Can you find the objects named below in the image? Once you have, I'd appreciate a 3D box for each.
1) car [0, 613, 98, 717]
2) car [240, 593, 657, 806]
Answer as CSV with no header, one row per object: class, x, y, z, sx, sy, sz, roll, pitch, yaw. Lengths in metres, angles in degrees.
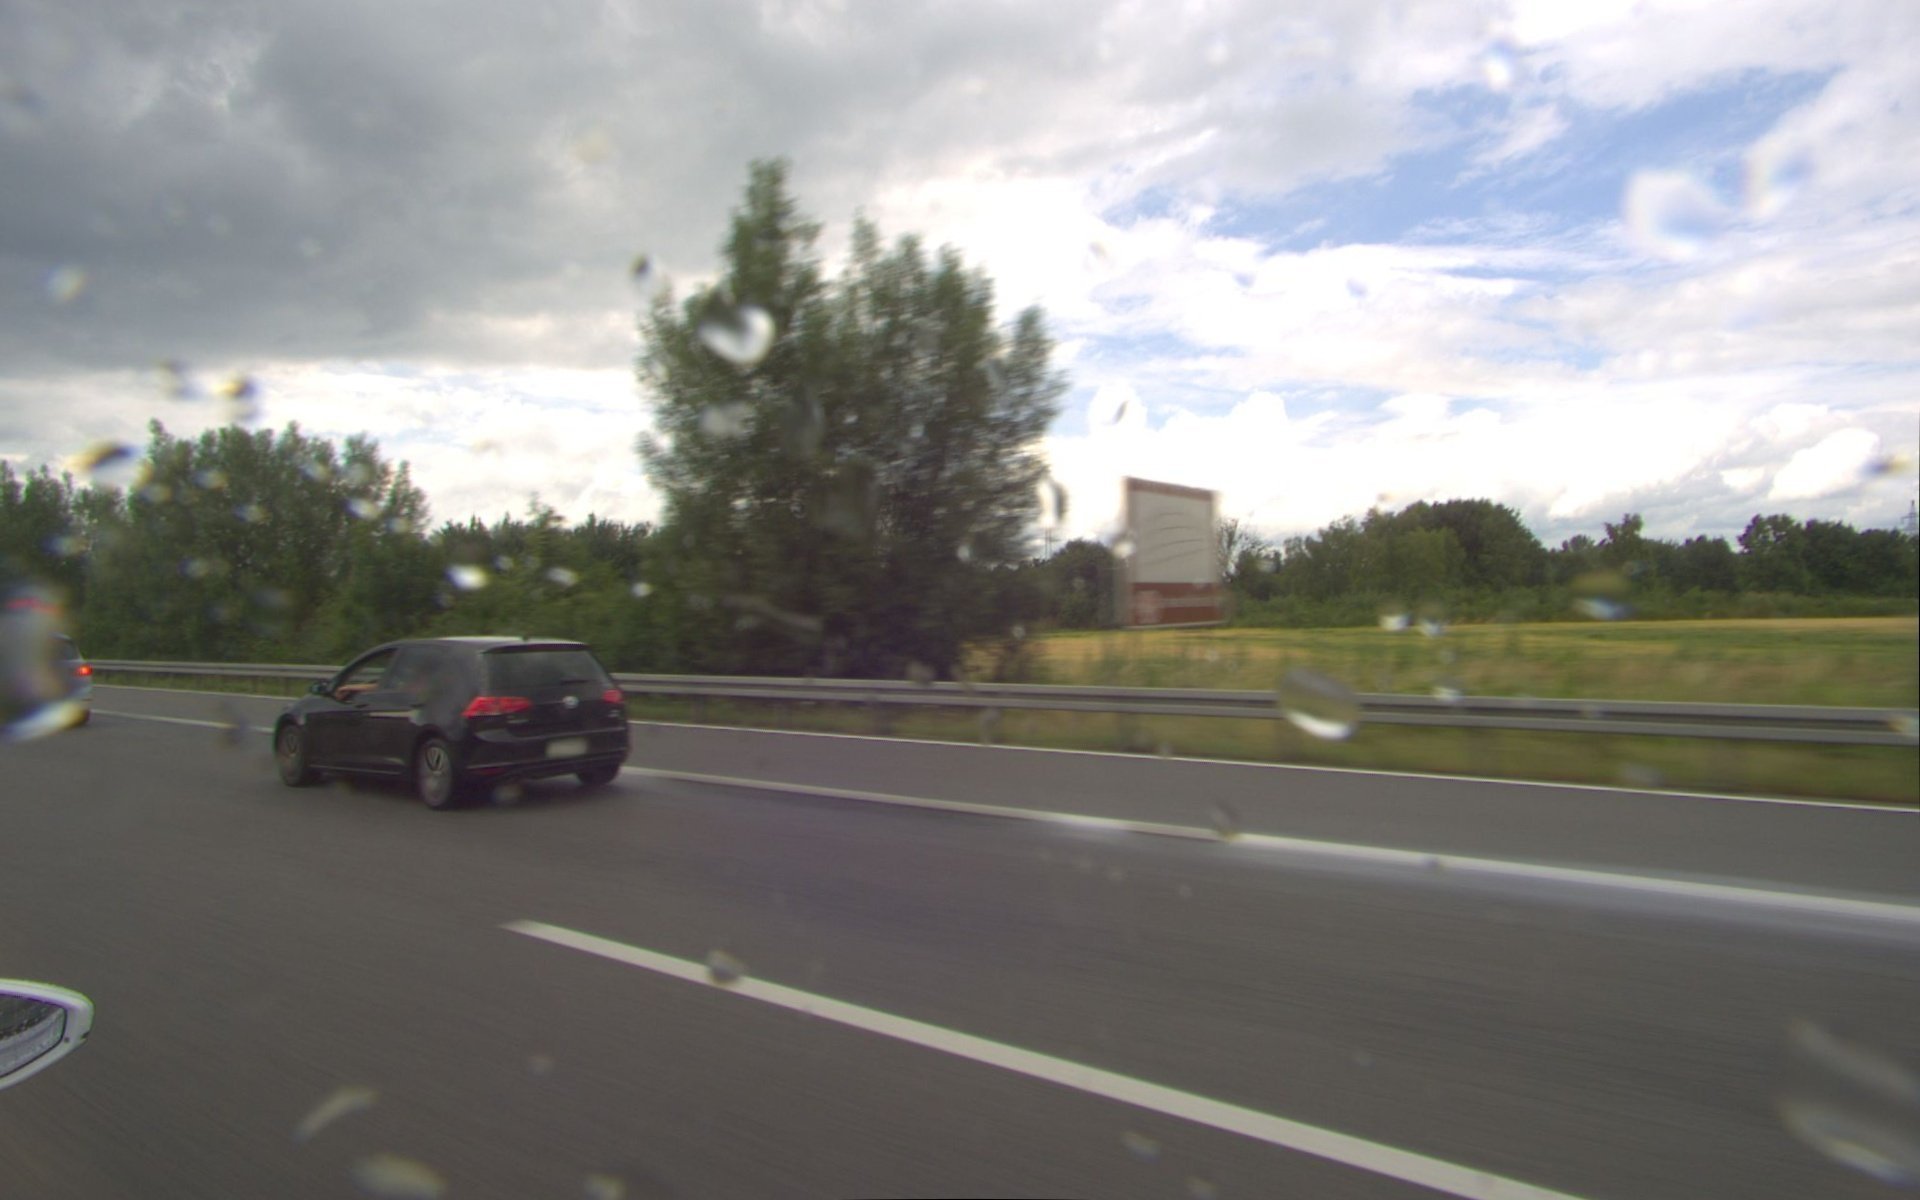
car,-16.657,1.060,17.112,4.632,1.619,1.806,-1,-1,34
car,-5.071,0.832,9.714,4.396,1.652,1.703,-1,-1,34
